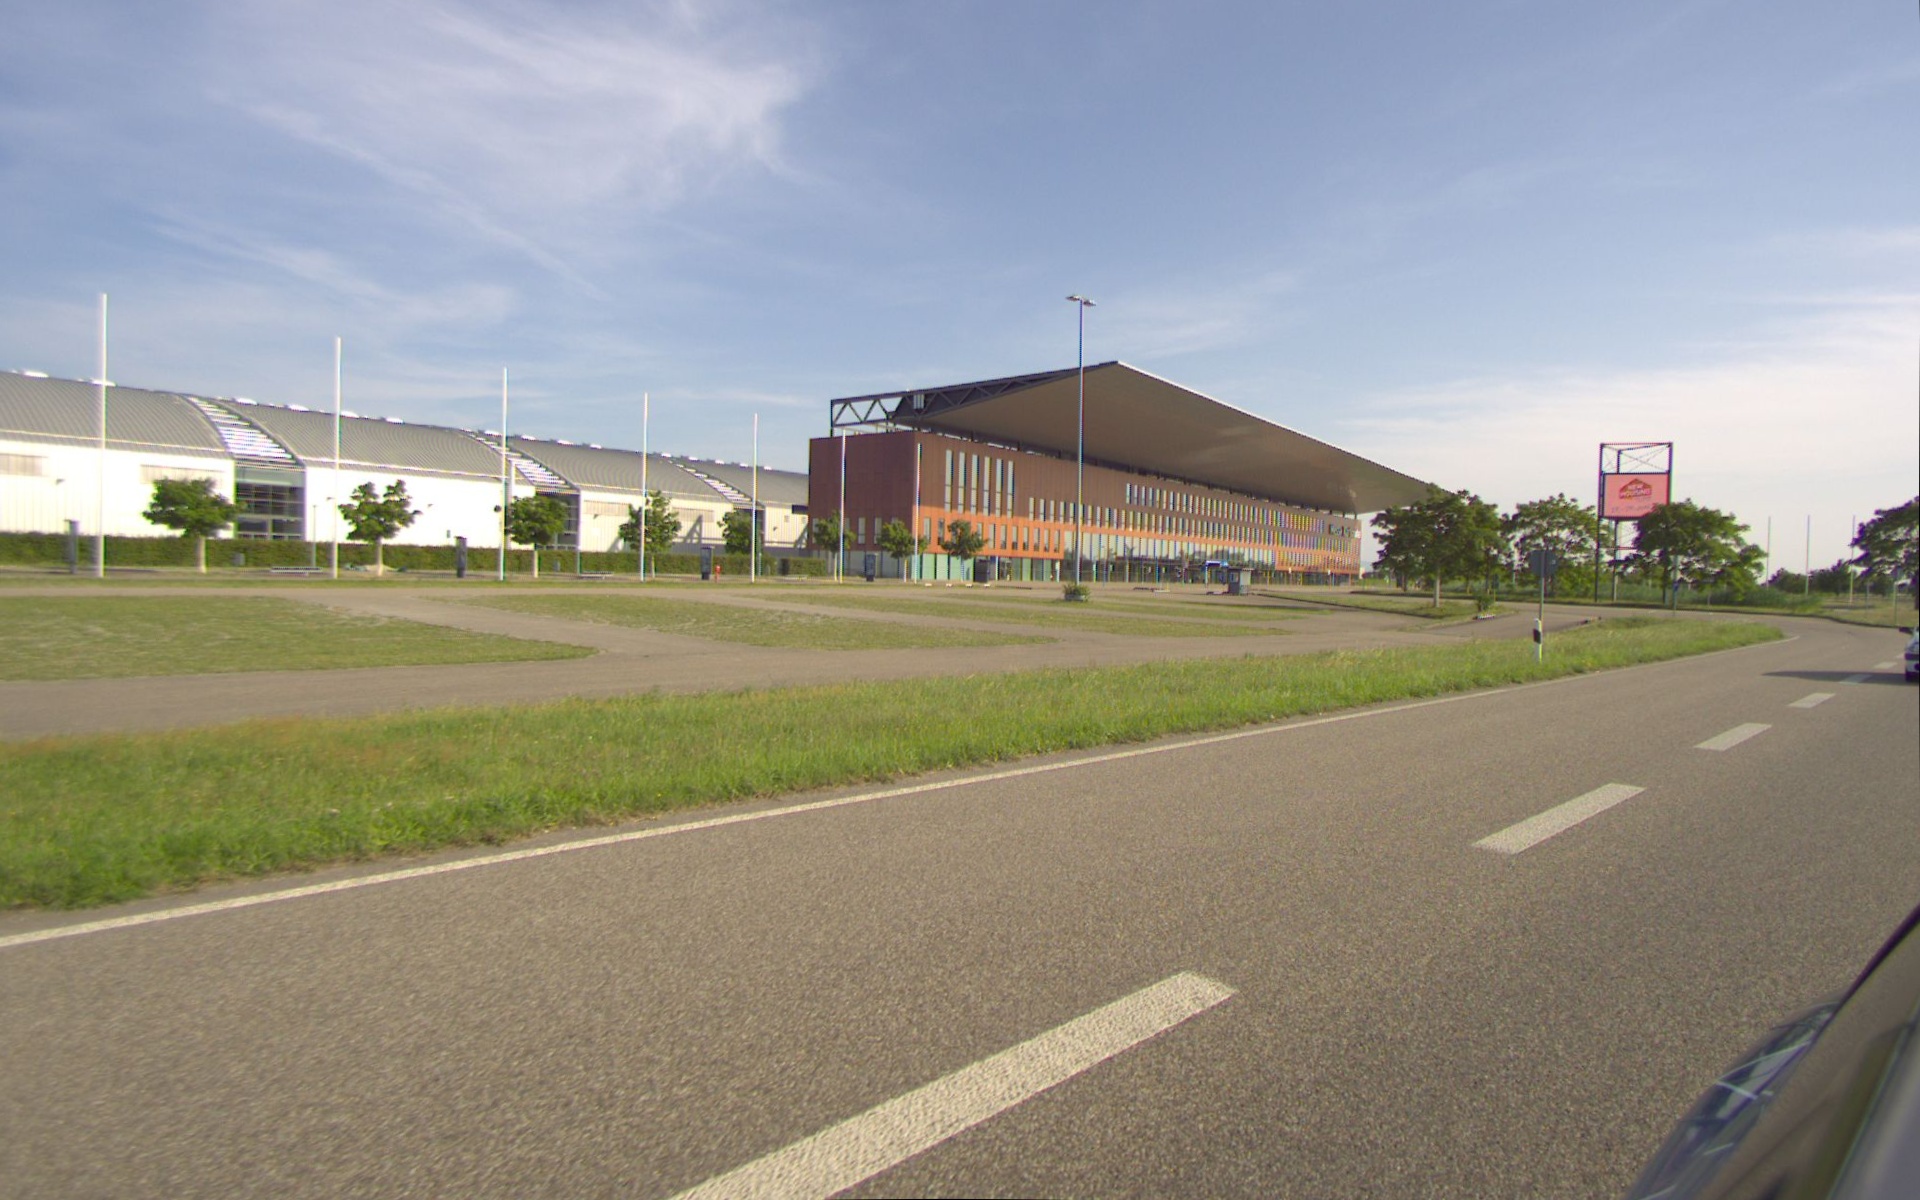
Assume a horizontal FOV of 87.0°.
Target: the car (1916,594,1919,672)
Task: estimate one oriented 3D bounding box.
[{"bbox_3d":[18.944,0.604,18.718,3.393,1.396,1.576,0,1,-42],"label":"car"}]
